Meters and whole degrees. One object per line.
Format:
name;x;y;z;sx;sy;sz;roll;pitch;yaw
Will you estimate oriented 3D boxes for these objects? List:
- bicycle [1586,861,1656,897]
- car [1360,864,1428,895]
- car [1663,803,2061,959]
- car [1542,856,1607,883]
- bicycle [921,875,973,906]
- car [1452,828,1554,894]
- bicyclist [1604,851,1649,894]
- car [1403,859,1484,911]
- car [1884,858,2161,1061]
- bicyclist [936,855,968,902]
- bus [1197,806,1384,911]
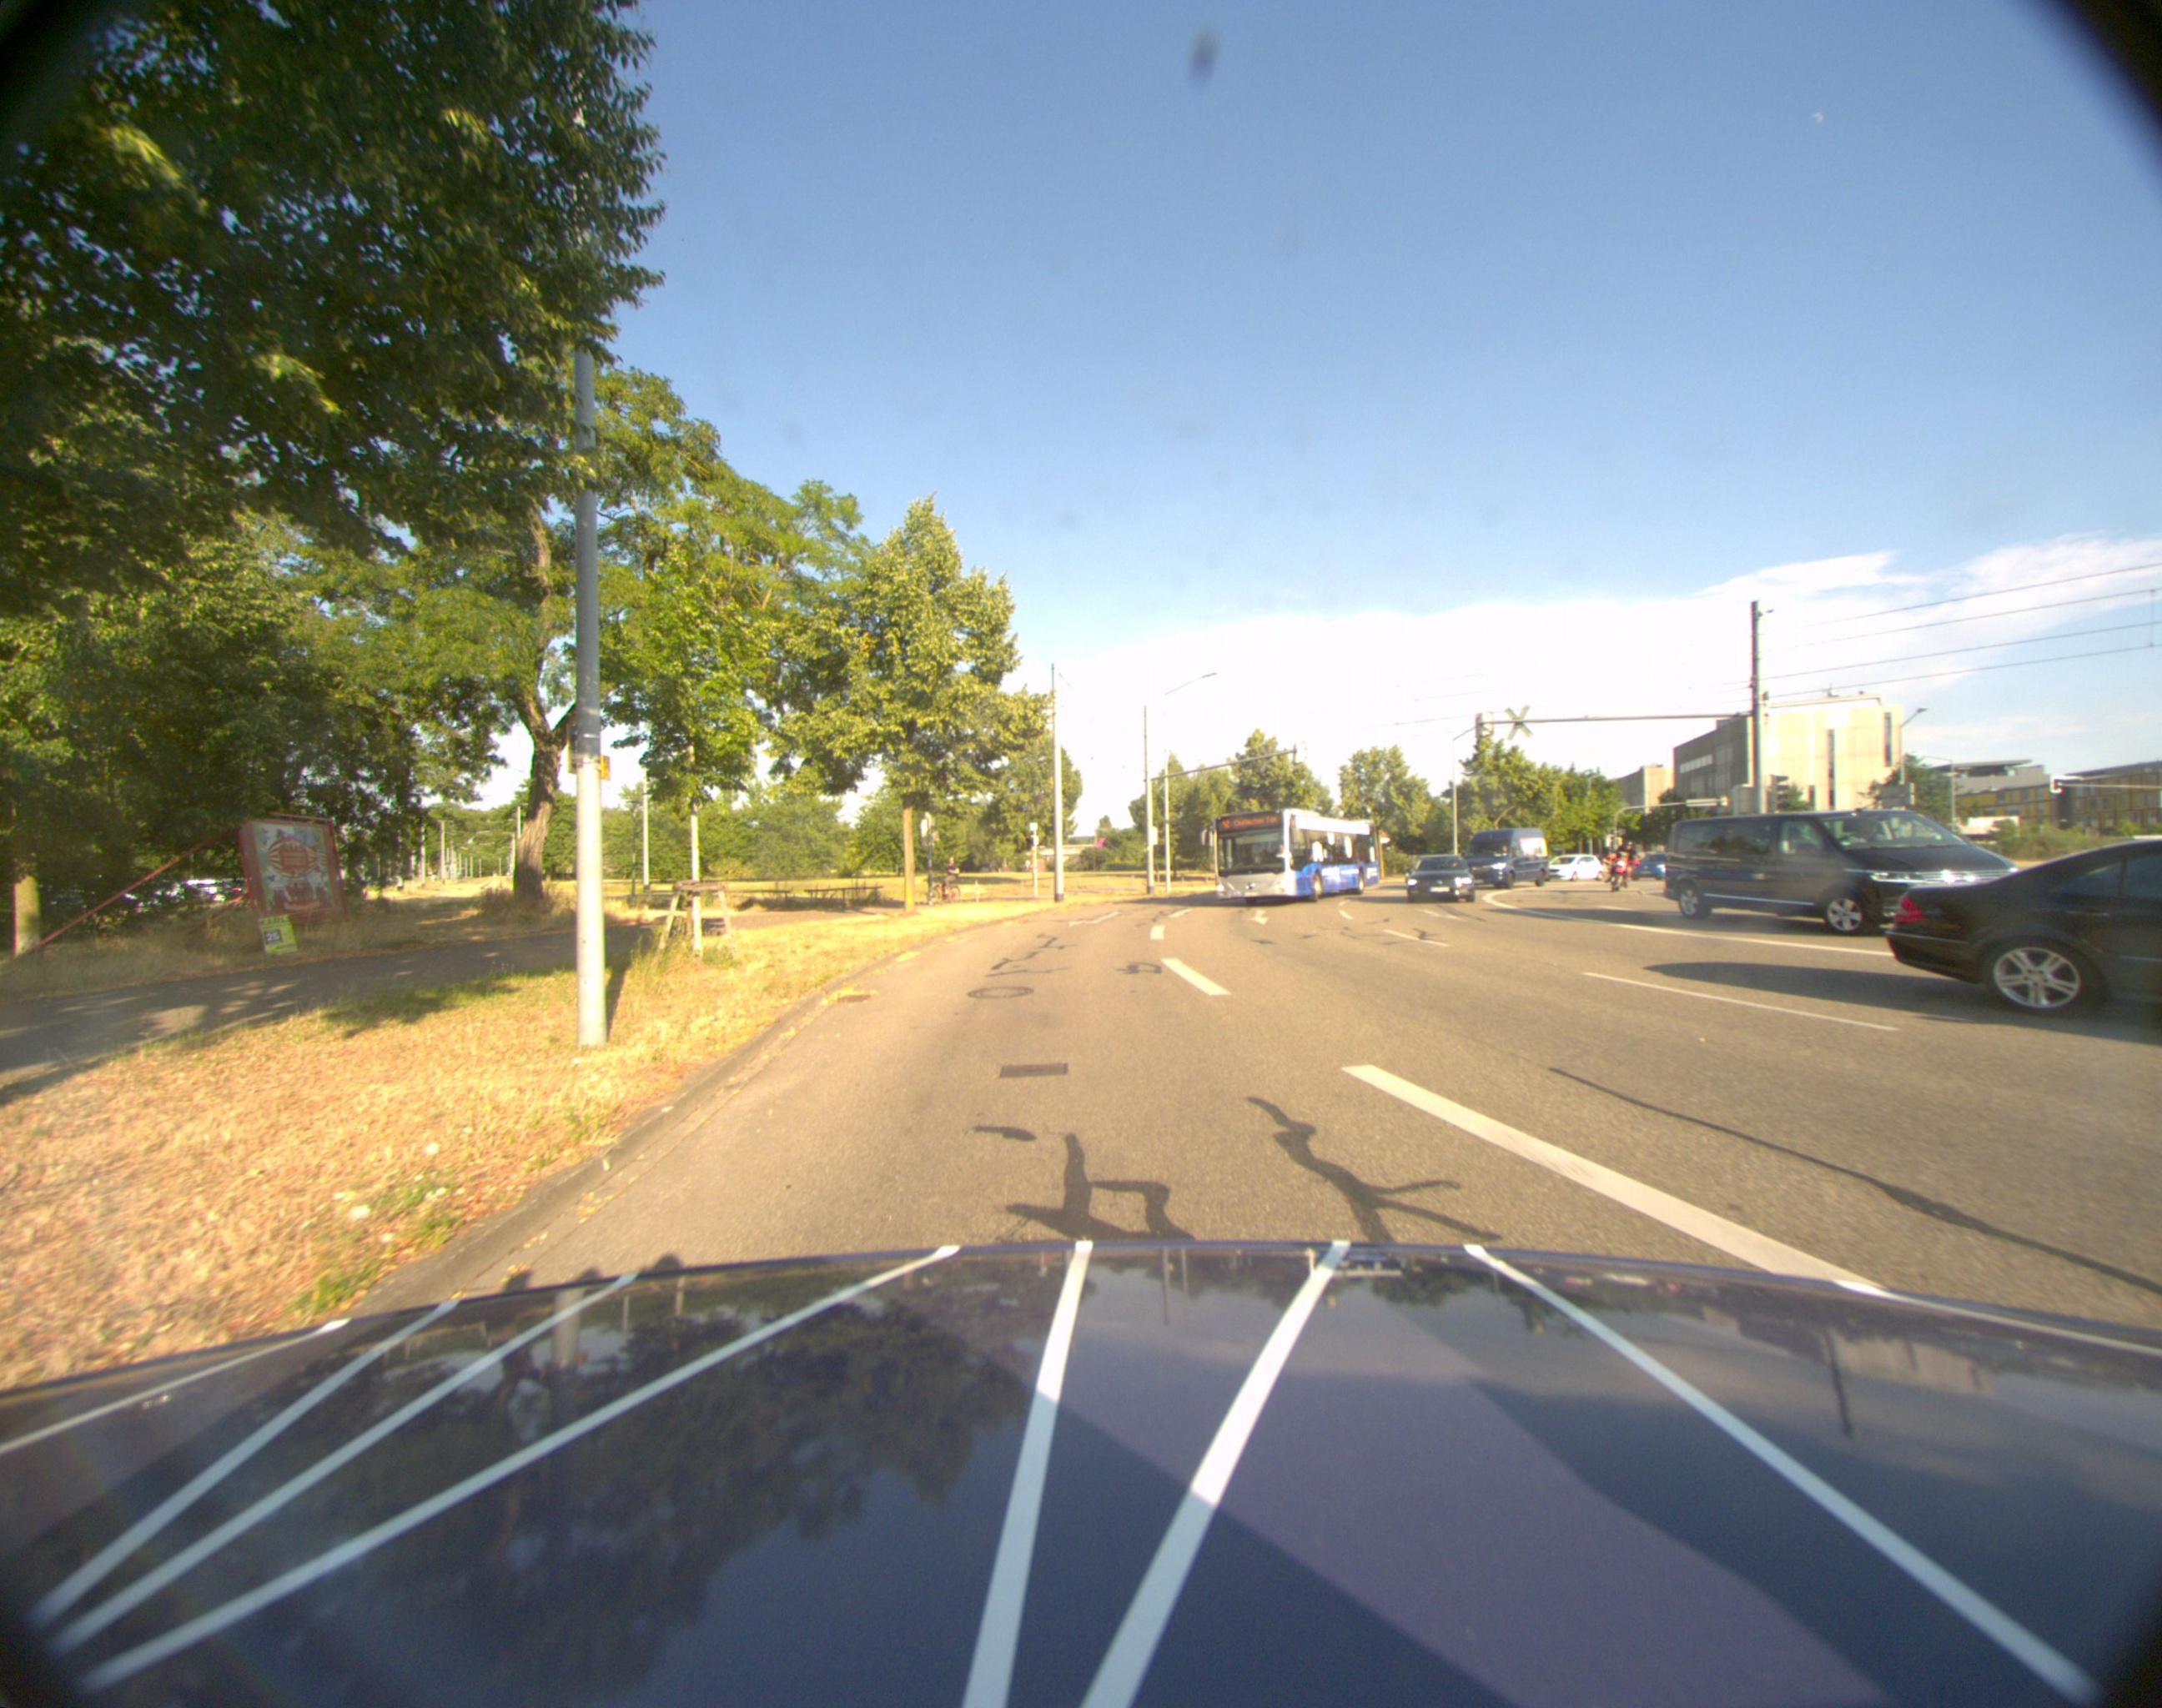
bicycle;18.450;0.842;26.008;0.820;1.177;2.030;-1;0;-6
car;16.541;1.300;40.072;1.994;1.514;4.008;0;0;43
car;12.364;0.377;12.730;2.091;2.035;5.249;-1;0;12
car;29.647;0.897;45.628;4.006;1.508;1.678;0;0;-30
bicycle;-5.196;1.391;29.602;0.639;1.116;2.130;-1;0;38
car;18.097;0.332;32.472;5.497;2.578;1.995;0;-2;-41
bicyclist;18.463;0.605;25.738;0.883;1.377;0.772;-4;0;-5
car;11.025;0.885;23.356;1.807;1.428;4.394;-1;0;20
car;8.587;0.731;4.734;1.843;1.398;4.697;-1;0;-10
bicyclist;-5.053;0.935;29.736;0.726;1.790;0.940;-1;0;38
bus;8.177;0.117;27.738;2.659;3.044;12.204;-1;0;35
